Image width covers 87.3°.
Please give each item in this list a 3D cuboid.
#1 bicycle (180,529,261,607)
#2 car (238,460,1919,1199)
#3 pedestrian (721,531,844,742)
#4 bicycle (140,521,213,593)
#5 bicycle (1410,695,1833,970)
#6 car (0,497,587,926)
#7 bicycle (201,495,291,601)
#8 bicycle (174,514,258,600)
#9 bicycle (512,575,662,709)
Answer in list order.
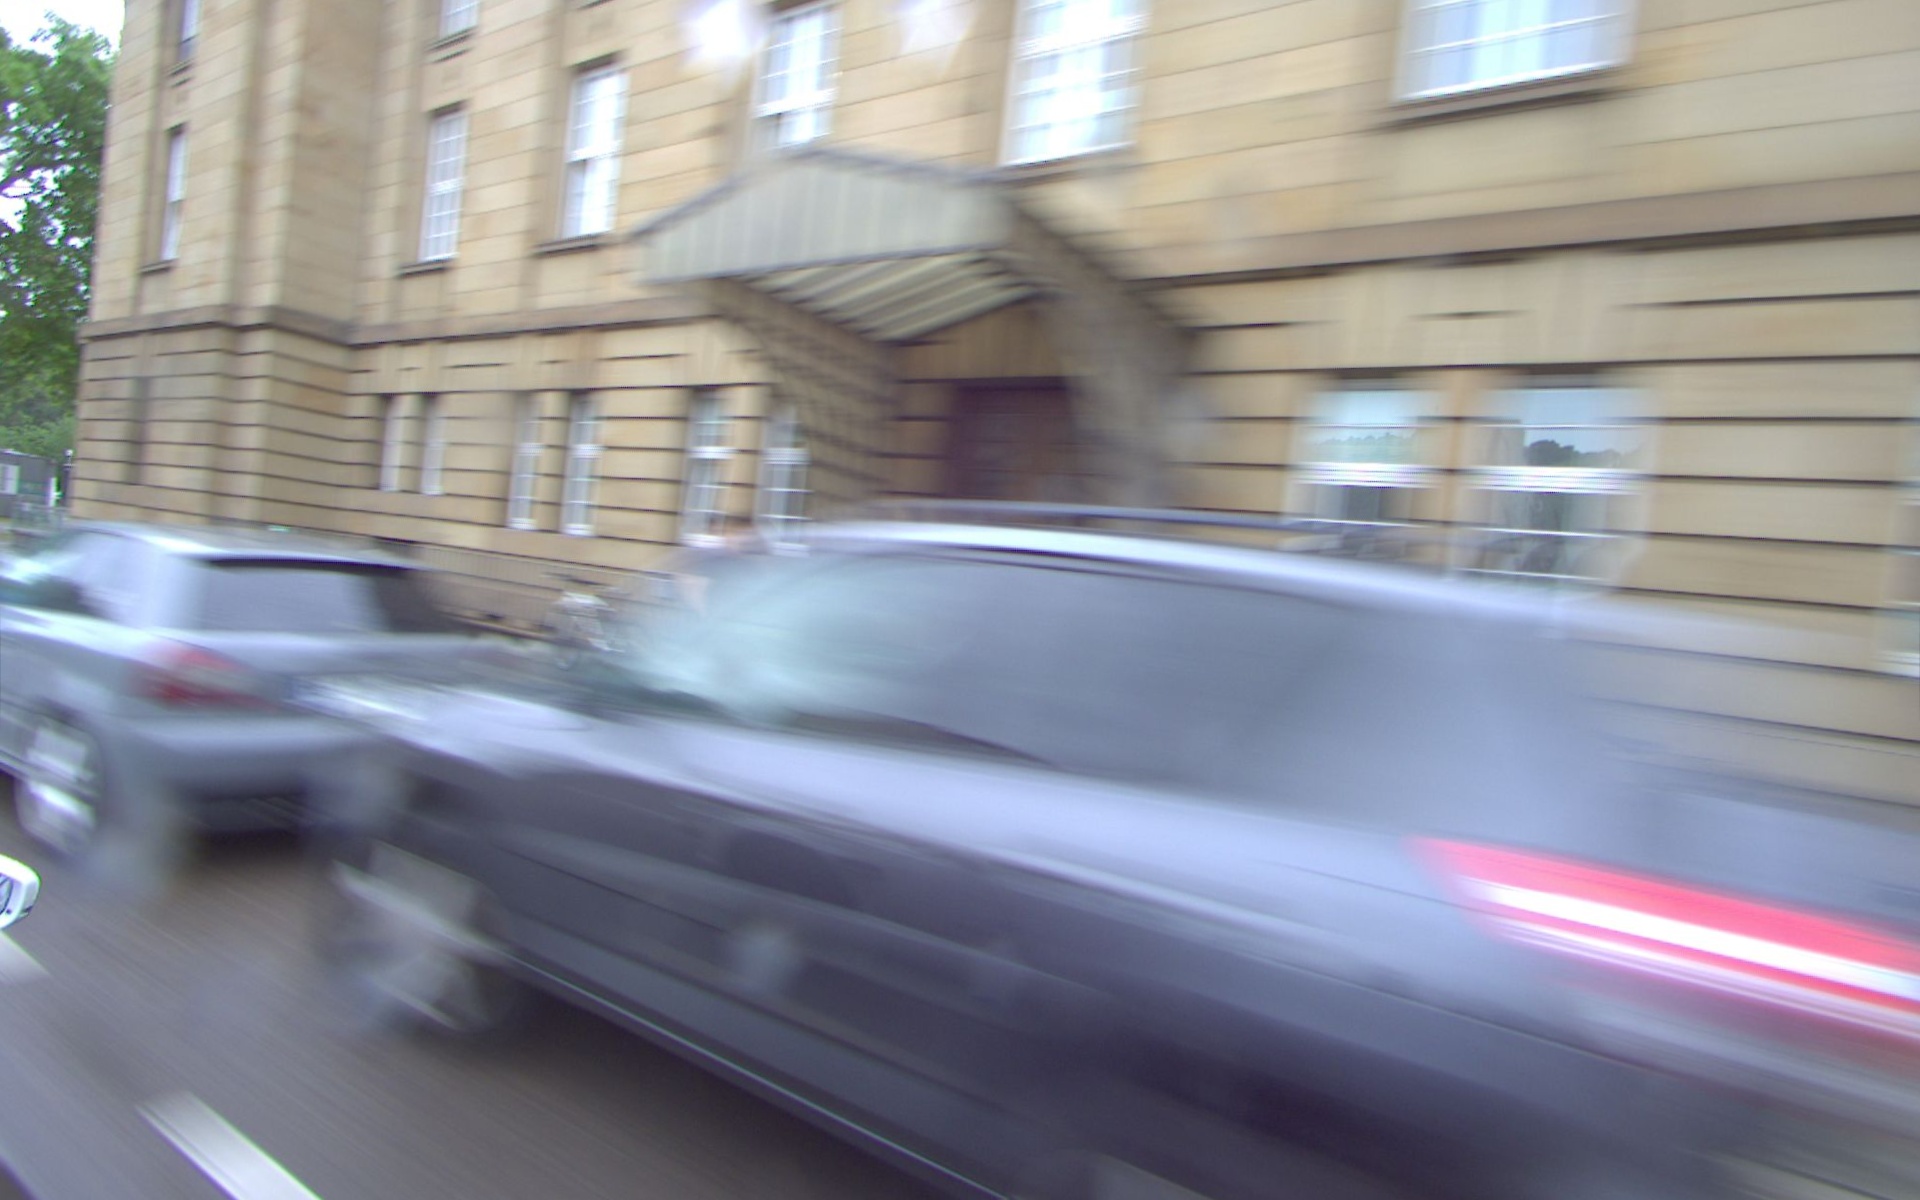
[{"bbox_3d":[-11.939,-0.527,16.220,1.760,1.093,0.352,6,0,32],"label":"bicycle"},{"bbox_3d":[0.238,0.739,2.549,4.122,1.803,1.994,6,0,35],"label":"car"},{"bbox_3d":[-1.616,0.314,9.194,0.631,1.802,0.794,6,4,32],"label":"pedestrian"},{"bbox_3d":[-13.286,-0.742,17.042,1.760,1.094,0.352,6,2,32],"label":"bicycle"},{"bbox_3d":[3.468,1.150,5.423,1.732,1.051,0.583,6,0,36],"label":"bicycle"},{"bbox_3d":[-4.041,0.336,5.400,3.643,1.496,1.933,6,-1,33],"label":"car"},{"bbox_3d":[-11.474,-0.846,16.155,1.573,1.533,0.454,7,-1,31],"label":"bicycle"},{"bbox_3d":[-12.421,-0.729,16.784,1.573,1.266,0.454,7,-1,31],"label":"bicycle"},{"bbox_3d":[-4.014,0.433,10.788,1.663,1.230,0.464,6,0,31],"label":"bicycle"}]
